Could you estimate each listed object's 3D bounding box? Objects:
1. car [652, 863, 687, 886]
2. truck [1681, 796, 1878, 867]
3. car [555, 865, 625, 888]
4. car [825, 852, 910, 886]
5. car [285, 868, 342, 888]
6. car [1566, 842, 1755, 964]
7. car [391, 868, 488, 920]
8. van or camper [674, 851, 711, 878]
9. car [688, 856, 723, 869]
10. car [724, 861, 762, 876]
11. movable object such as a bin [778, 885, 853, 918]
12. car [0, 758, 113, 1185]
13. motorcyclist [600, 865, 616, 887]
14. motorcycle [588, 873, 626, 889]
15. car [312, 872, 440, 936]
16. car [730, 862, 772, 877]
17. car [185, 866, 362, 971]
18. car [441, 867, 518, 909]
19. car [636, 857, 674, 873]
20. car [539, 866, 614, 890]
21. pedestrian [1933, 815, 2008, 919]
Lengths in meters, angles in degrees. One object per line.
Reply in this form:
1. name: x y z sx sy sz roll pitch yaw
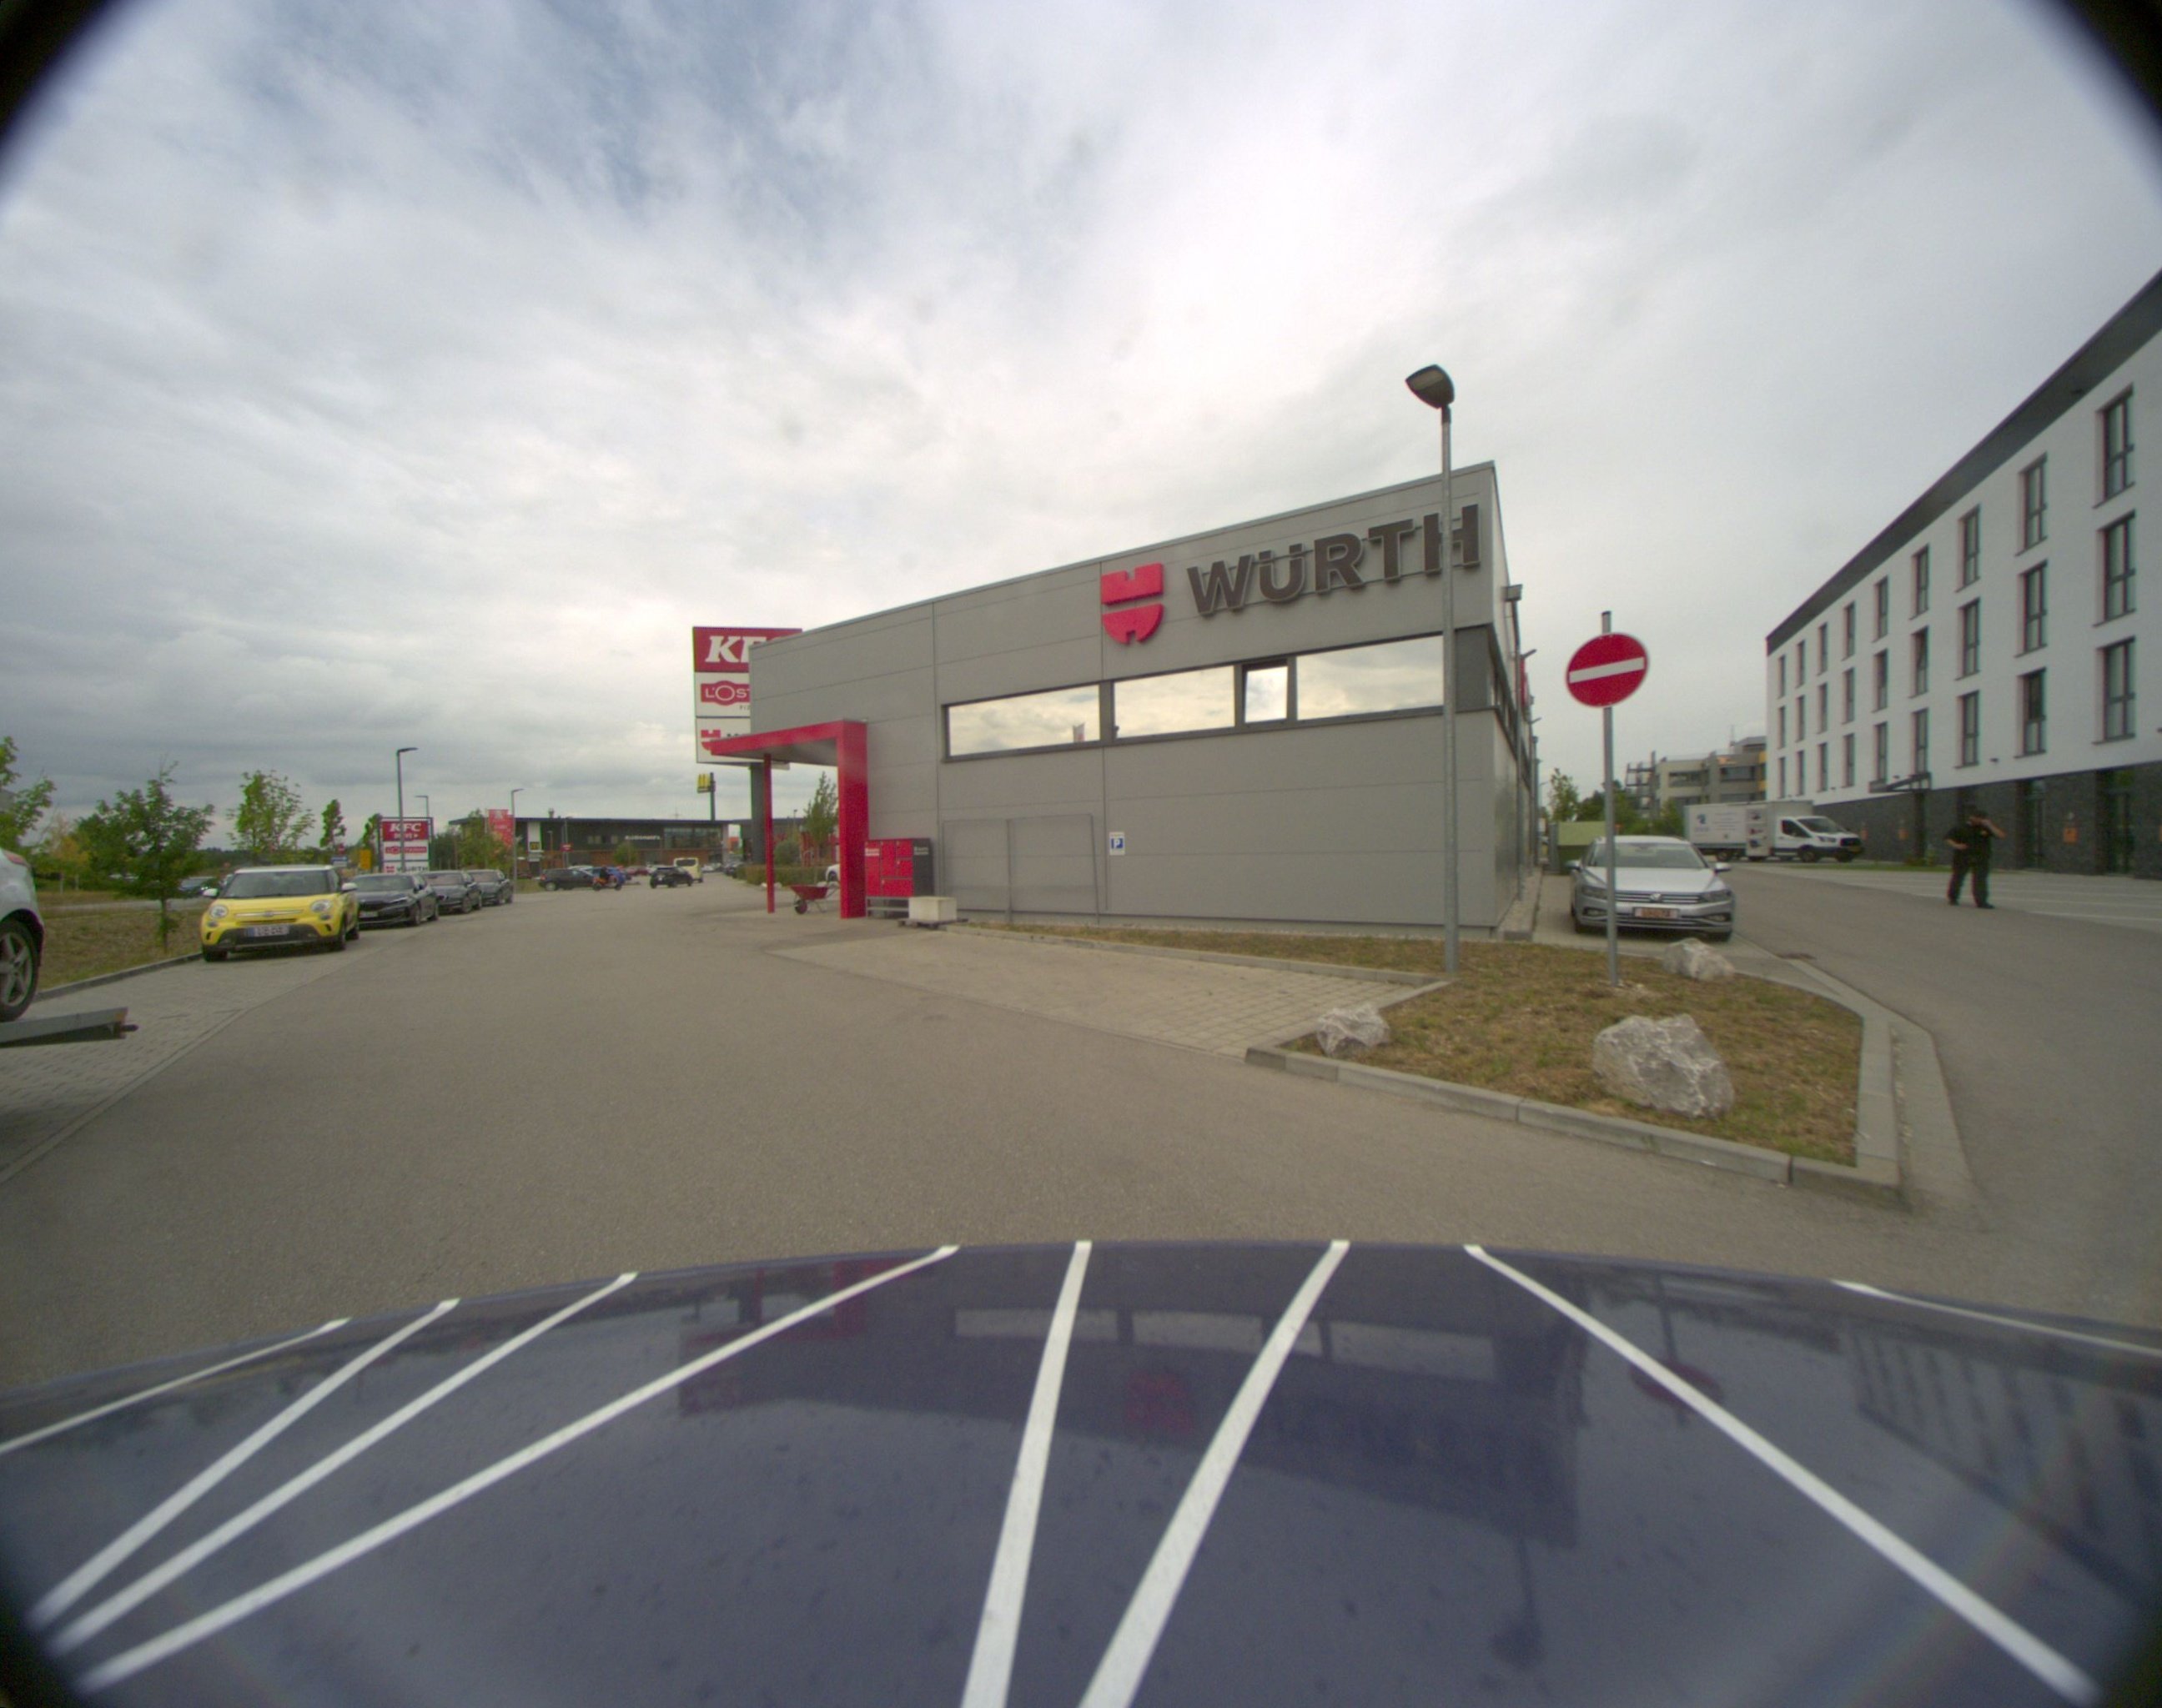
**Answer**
1. car: -26.951 1.337 49.853 1.508 1.438 3.120 0 0 -19
2. truck: 33.034 -0.996 36.409 2.436 2.999 7.064 -2 1 -7
3. car: -34.545 1.586 53.607 4.006 1.412 1.806 -2 1 -28
4. car: -11.626 0.823 41.214 4.729 1.738 1.762 -1 1 34
5. car: -56.762 1.761 56.274 1.762 1.346 3.991 -1 0 -27
6. car: 9.179 0.575 12.046 1.975 1.483 4.780 2 2 39
7. car: -21.825 1.284 26.030 1.755 1.482 4.622 -2 1 -31
8. van or camper: -31.034 0.800 60.811 1.861 2.049 5.226 -2 0 -18
9. car: -54.274 1.237 109.961 3.996 1.652 2.000 -2 1 2
10. car: -44.435 1.878 99.864 4.007 1.827 1.994 -2 1 -42
11. movable object such as a bin: -6.546 1.154 18.813 0.801 0.712 1.588 -1 0 33
12. car: -5.221 0.606 1.274 2.205 2.309 7.837 -2 0 -35
13. motorcyclist: -28.695 1.333 46.105 0.574 1.308 0.674 -1 1 40
14. motorcycle: -28.714 1.640 46.074 0.555 0.911 1.872 -1 1 40
15. car: -18.645 1.239 20.312 1.756 1.407 4.295 -2 1 -33
16. car: -32.517 1.493 74.852 3.449 1.288 1.496 -2 1 -37
17. car: -15.621 1.114 14.950 1.756 1.674 4.287 -3 1 -39
18. car: -24.435 1.321 31.005 1.755 1.482 4.477 -2 1 -30
19. car: -57.444 1.424 102.516 3.996 2.002 2.000 -2 1 2
20. car: -33.846 1.598 51.064 4.006 1.412 1.806 -2 1 -28
21. pedestrian: 15.960 0.220 13.657 0.707 1.812 0.814 0 1 38
